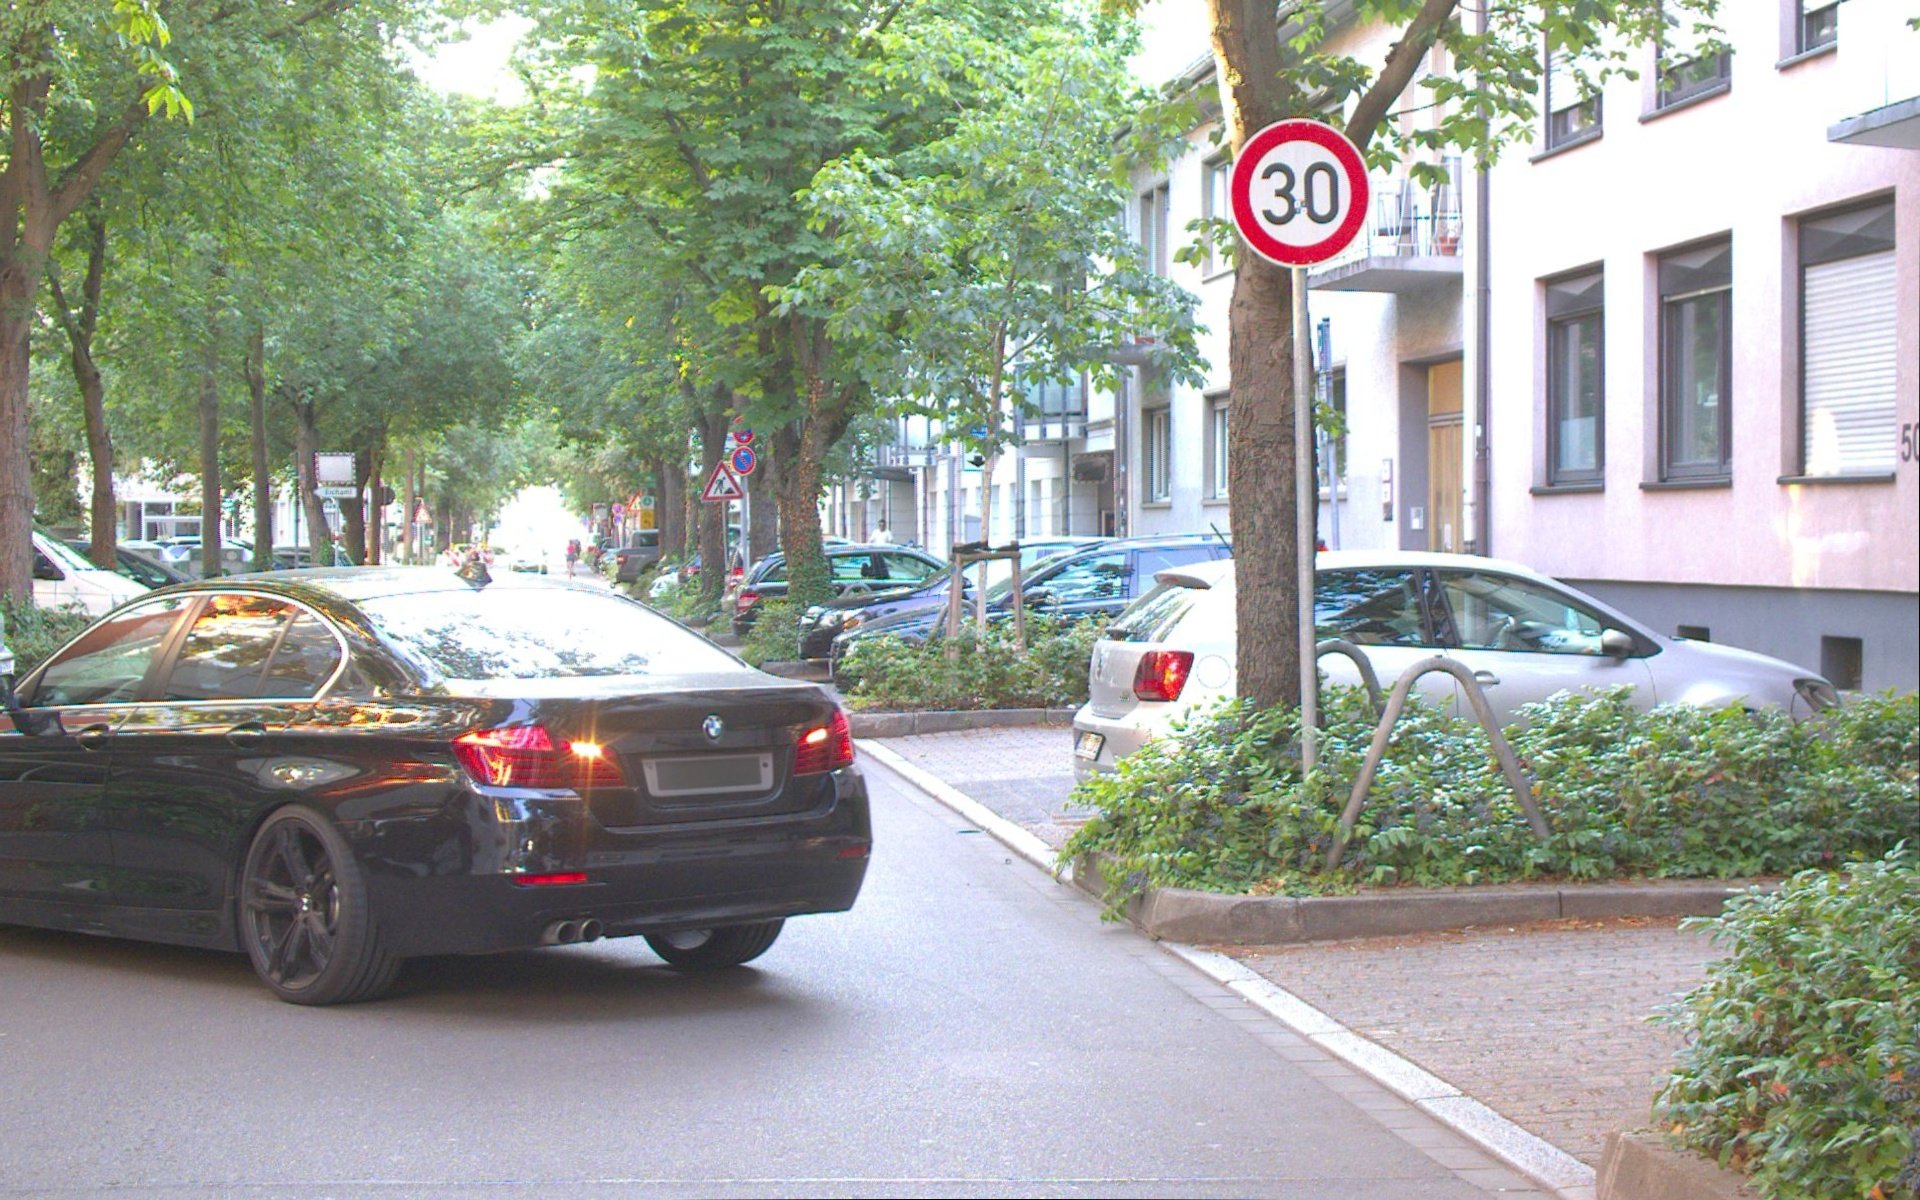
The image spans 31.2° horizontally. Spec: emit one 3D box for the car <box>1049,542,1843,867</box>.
[{"bbox_3d":[2.395,0.481,17.351,3.656,1.474,1.566,-1,1,-8],"label":"car"}]

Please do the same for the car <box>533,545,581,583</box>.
[{"bbox_3d":[-17.087,-1.550,145.859,1.993,1.546,4.001,0,1,-7],"label":"car"}]

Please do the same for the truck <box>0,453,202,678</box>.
[{"bbox_3d":[-11.103,-0.427,38.268,4.998,2.432,1.916,1,2,-5],"label":"truck"}]

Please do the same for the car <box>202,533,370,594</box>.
[{"bbox_3d":[-16.937,-0.918,86.477,4.020,1.466,1.640,1,1,-7],"label":"car"}]

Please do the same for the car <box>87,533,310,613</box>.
[{"bbox_3d":[-14.557,-0.521,65.882,4.020,1.466,1.640,1,1,-7],"label":"car"}]

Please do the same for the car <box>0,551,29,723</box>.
[{"bbox_3d":[-10.371,0.287,29.979,4.131,1.466,1.640,1,1,-7],"label":"car"}]

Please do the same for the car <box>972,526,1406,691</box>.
[{"bbox_3d":[2.048,0.057,31.192,3.656,1.388,1.566,-1,1,-8],"label":"car"}]

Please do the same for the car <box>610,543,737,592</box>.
[{"bbox_3d":[-8.519,-0.979,102.051,3.656,1.388,1.566,-1,1,-8],"label":"car"}]

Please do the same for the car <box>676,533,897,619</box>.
[{"bbox_3d":[-3.009,-0.428,59.232,3.656,1.388,1.566,-1,1,-8],"label":"car"}]

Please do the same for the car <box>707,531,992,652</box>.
[{"bbox_3d":[-1.503,-0.129,46.234,3.656,1.531,1.566,-1,1,-8],"label":"car"}]

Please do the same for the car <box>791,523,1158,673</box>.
[{"bbox_3d":[0.131,-0.041,37.489,3.791,1.524,1.566,-1,1,-8],"label":"car"}]

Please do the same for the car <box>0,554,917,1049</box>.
[{"bbox_3d":[-2.399,0.573,12.558,1.763,1.445,4.665,-1,2,-44],"label":"car"}]

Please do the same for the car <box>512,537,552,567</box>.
[{"bbox_3d":[-21.333,-2.395,171.553,1.894,1.470,4.001,0,1,-6],"label":"car"}]
